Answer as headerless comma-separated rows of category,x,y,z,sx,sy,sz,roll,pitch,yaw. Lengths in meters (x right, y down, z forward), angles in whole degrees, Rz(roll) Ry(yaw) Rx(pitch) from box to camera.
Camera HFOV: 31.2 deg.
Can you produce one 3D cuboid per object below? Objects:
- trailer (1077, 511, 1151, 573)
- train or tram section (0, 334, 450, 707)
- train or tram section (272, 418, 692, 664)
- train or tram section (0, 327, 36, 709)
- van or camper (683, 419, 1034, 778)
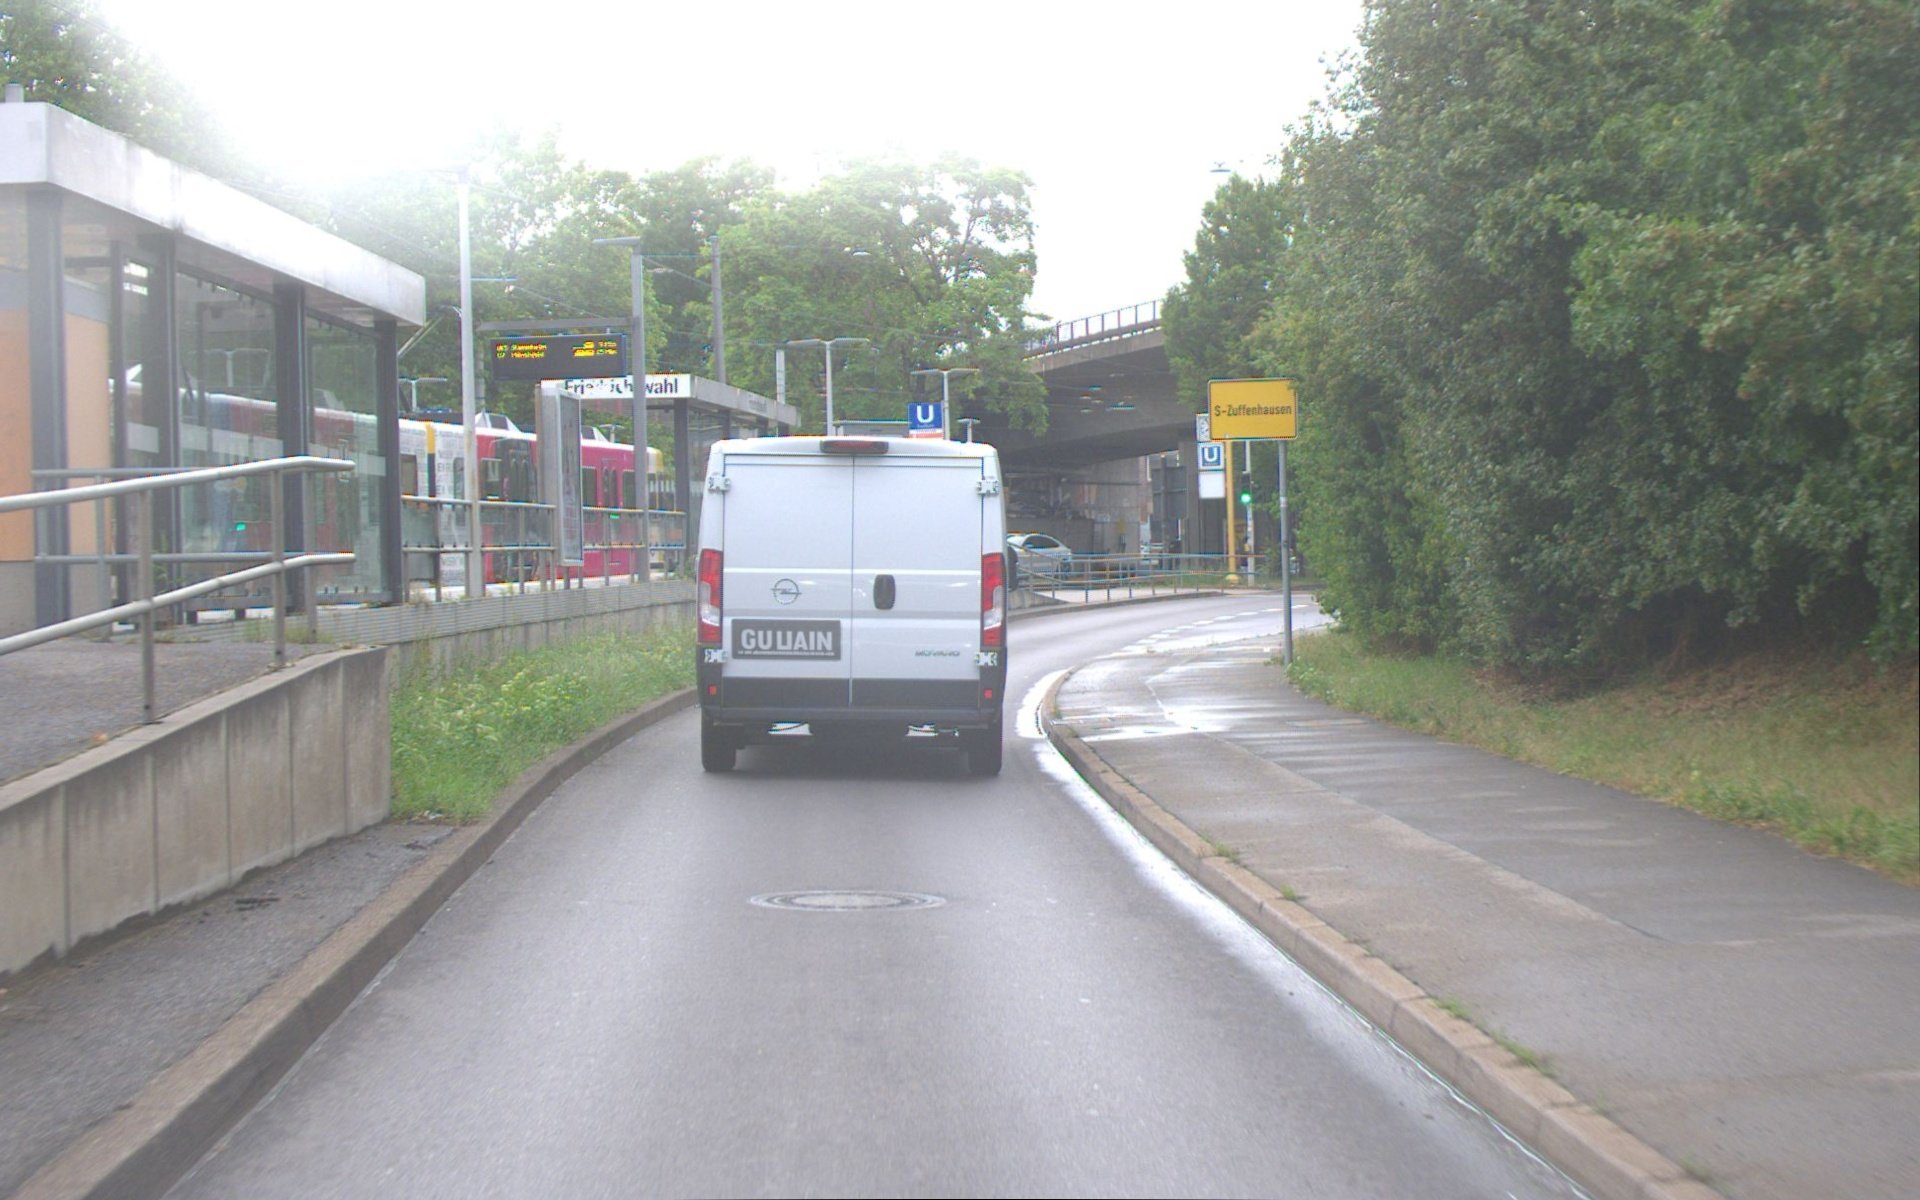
trailer,6.959,-2.603,155.841,1.993,2.716,4.124,0,0,-18
train or tram section,-10.571,-0.912,46.271,2.868,3.957,19.327,1,0,5
train or tram section,-8.537,-0.986,65.481,2.869,3.947,19.325,1,0,7
train or tram section,-11.632,-0.837,26.979,2.868,3.940,19.330,1,0,2
van or camper,-0.692,-0.024,24.375,2.199,2.245,4.684,1,0,-1
